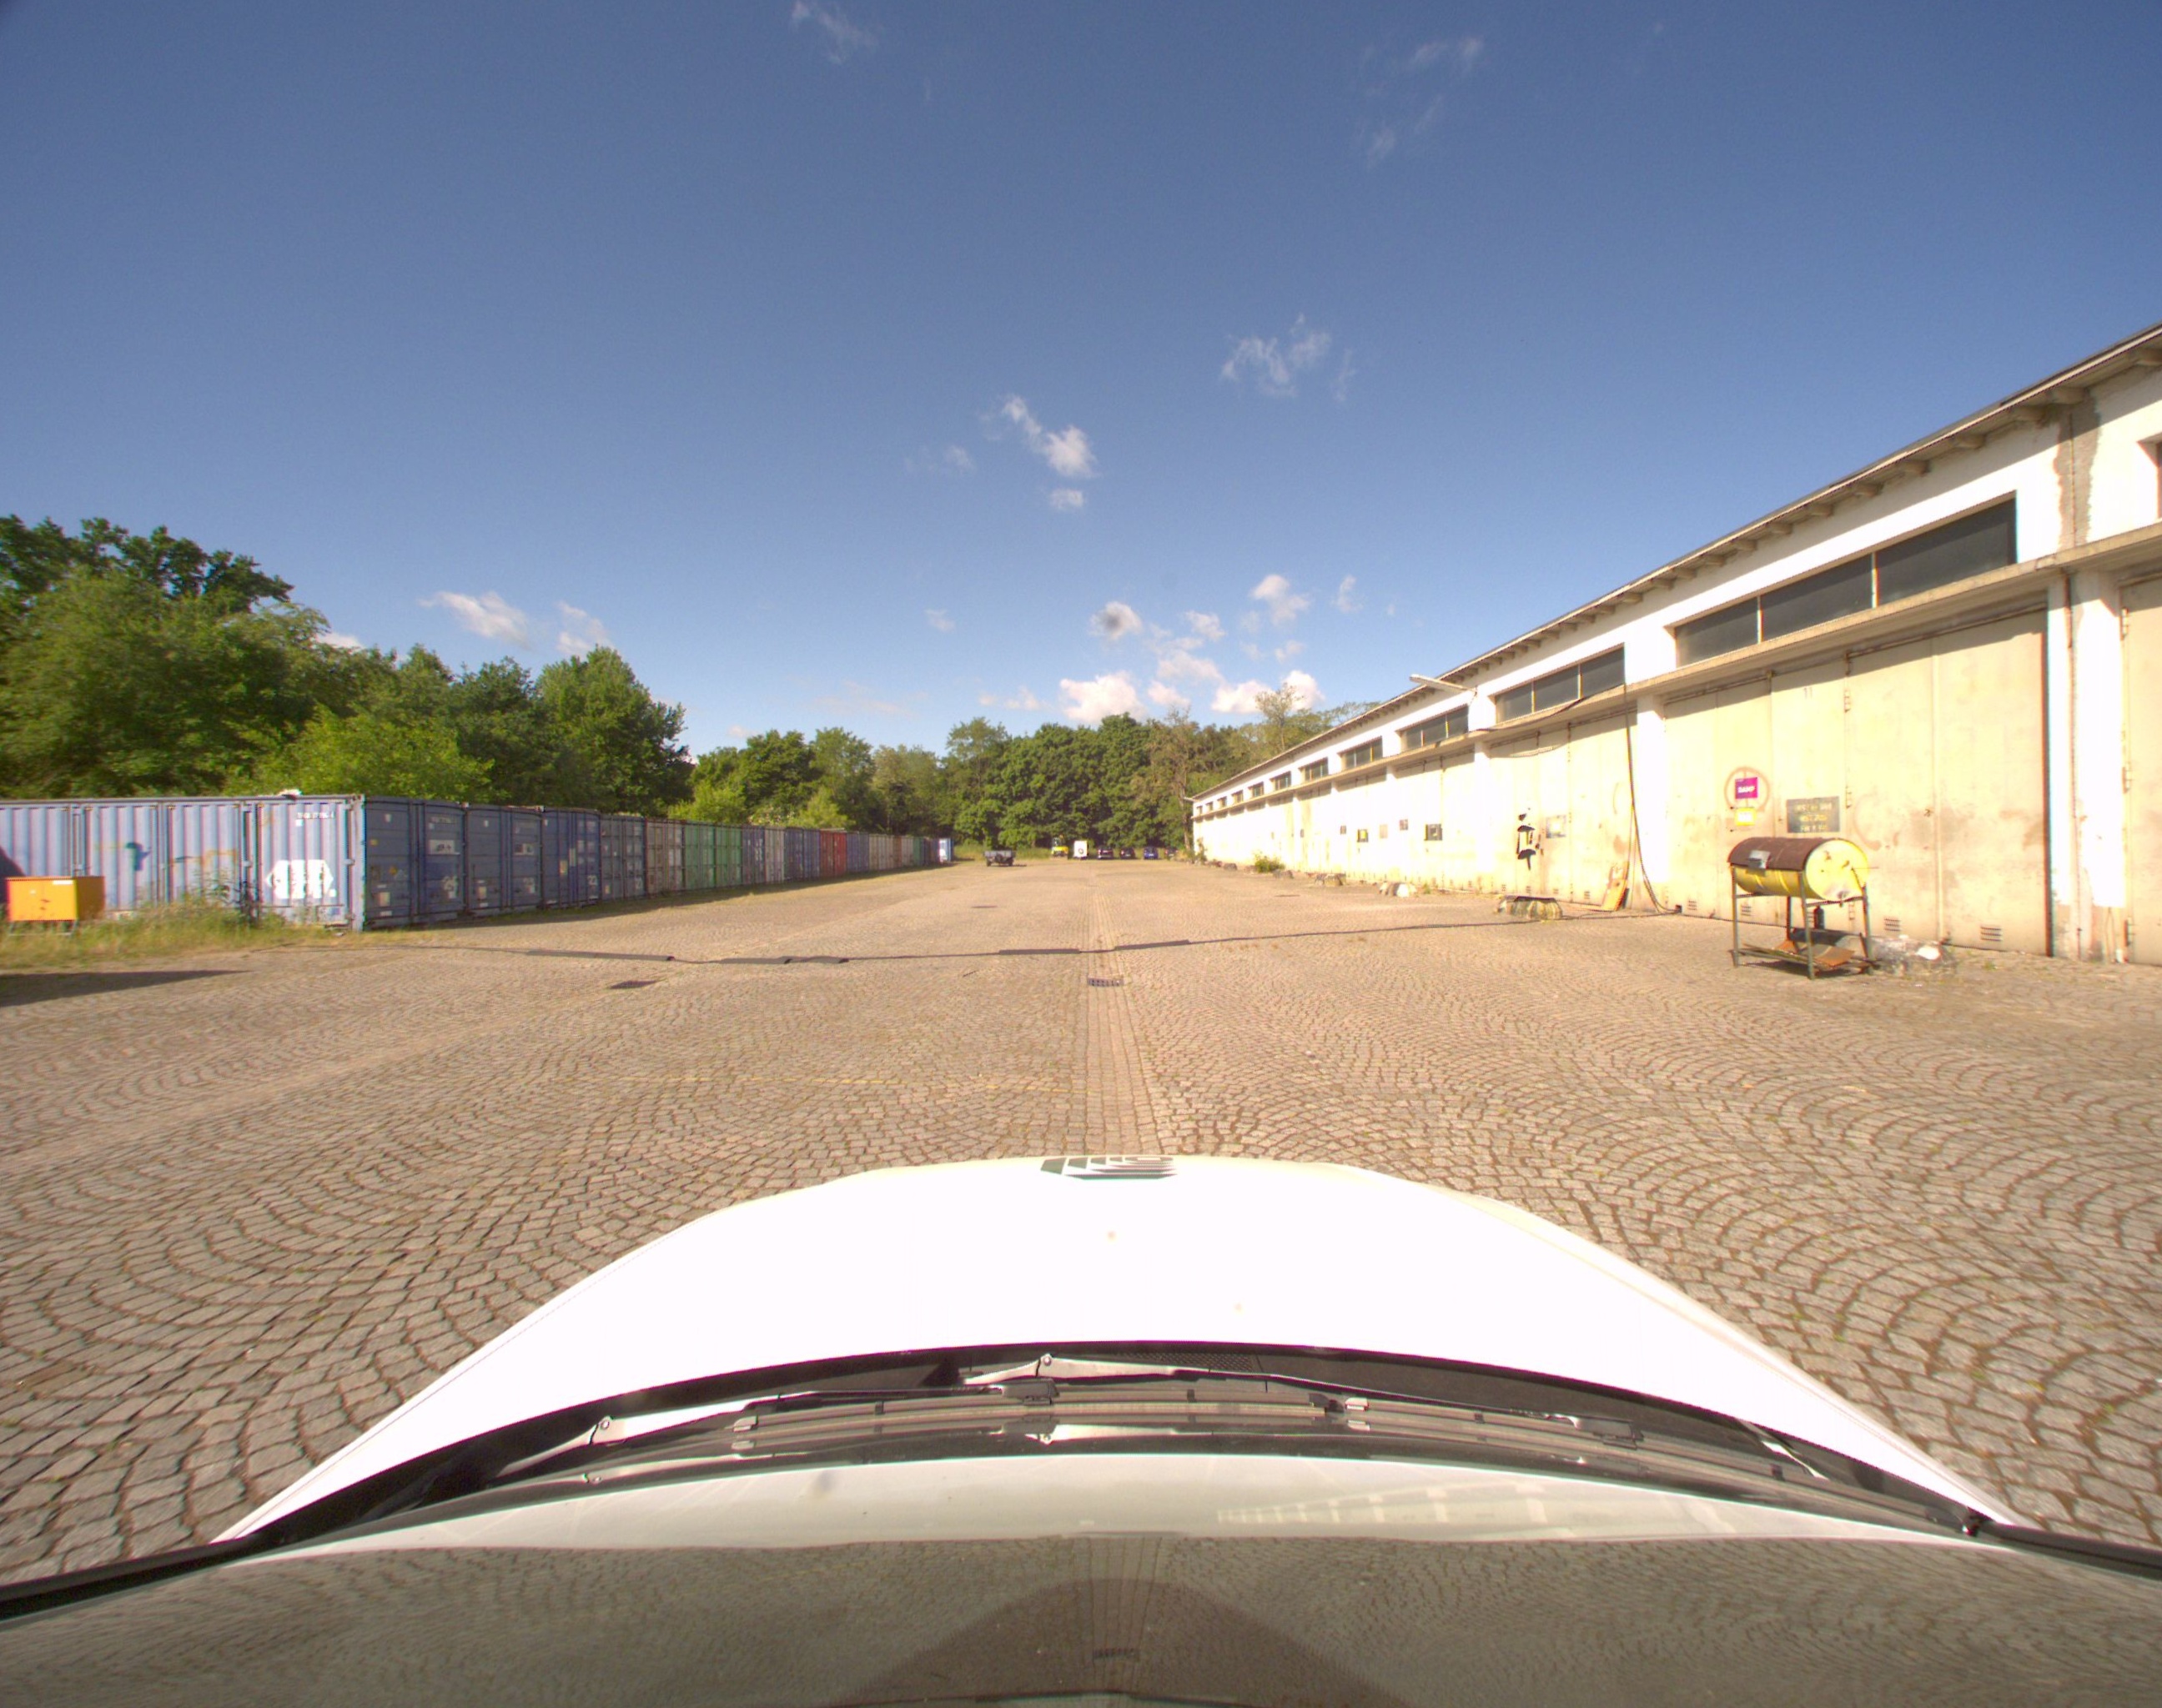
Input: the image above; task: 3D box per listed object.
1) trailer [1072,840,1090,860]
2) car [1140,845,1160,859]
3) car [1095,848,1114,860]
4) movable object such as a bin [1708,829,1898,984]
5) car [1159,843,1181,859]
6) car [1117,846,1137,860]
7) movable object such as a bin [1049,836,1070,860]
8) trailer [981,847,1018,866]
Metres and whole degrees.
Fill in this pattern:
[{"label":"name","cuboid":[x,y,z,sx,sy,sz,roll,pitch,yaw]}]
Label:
[{"label":"trailer","cuboid":[-0.031,-0.488,92.365,1.987,2.162,4.431,-1,0,0]},{"label":"car","cuboid":[7.732,-0.205,91.516,1.987,1.466,4.000,-1,0,0]},{"label":"car","cuboid":[2.626,-0.049,91.140,1.987,1.258,4.000,-1,0,0]},{"label":"movable object such as a bin","cuboid":[7.003,0.475,7.971,0.872,1.401,1.101,-1,0,-1]},{"label":"car","cuboid":[10.097,-0.375,92.767,1.987,1.772,4.000,-1,0,0]},{"label":"car","cuboid":[5.149,-0.121,91.520,1.987,1.424,4.000,-1,0,0]},{"label":"movable object such as a bin","cuboid":[-2.484,-0.725,93.115,2.226,2.657,3.997,-1,0,-2]},{"label":"trailer","cuboid":[-7.337,0.211,73.793,2.783,1.646,5.619,-1,0,-1]}]
